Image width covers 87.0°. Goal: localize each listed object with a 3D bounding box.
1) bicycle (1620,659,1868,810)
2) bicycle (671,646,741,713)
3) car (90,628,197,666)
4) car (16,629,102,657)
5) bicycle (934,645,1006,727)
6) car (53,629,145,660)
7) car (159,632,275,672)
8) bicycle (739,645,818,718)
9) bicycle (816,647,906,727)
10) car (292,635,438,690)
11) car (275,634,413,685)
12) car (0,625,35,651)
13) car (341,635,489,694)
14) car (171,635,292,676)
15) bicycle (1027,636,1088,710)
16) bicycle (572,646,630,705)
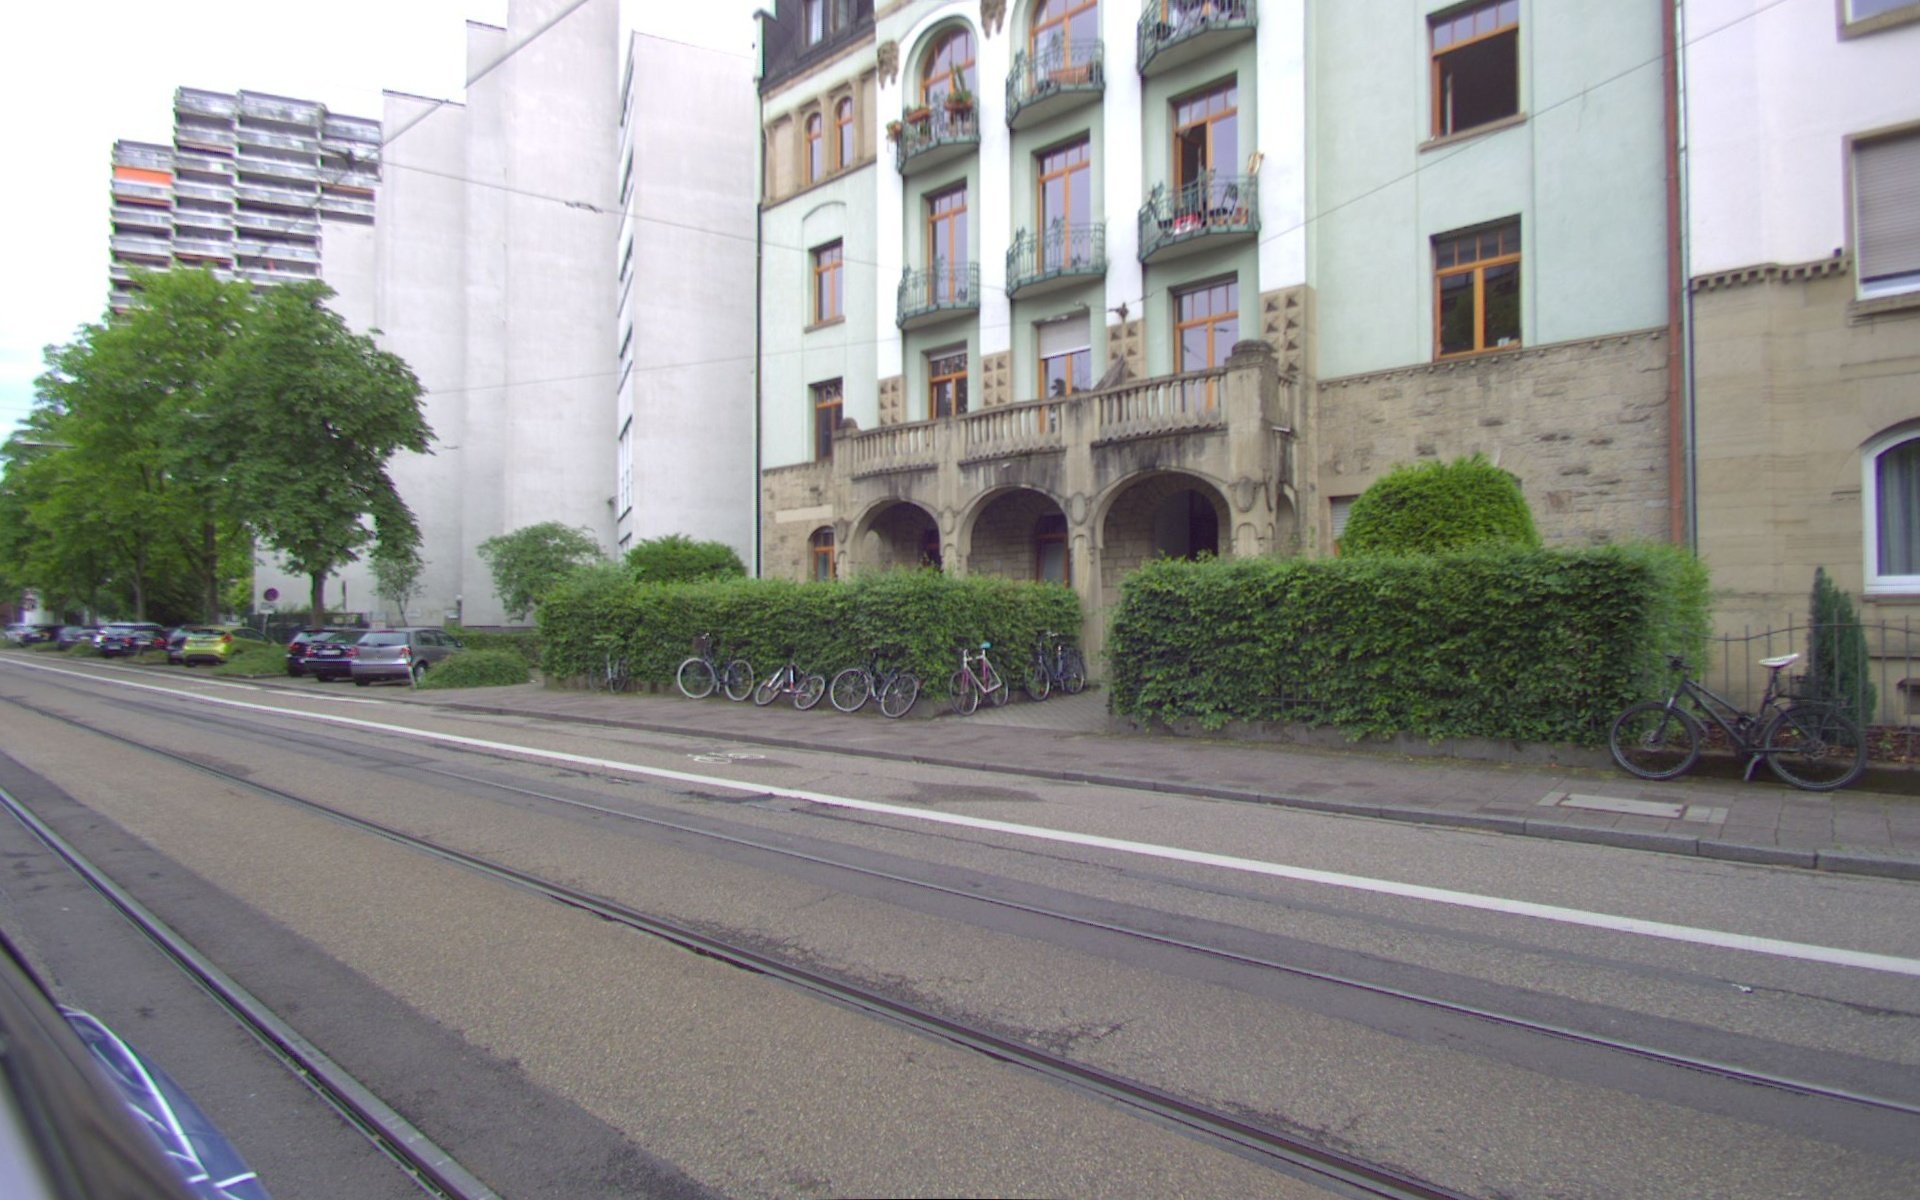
[{"bbox_3d":[6.311,1.046,8.221,1.546,1.092,0.356,-2,-2,41],"label":"bicycle"},{"bbox_3d":[-4.440,1.364,17.653,1.546,1.092,0.356,-2,-2,41],"label":"bicycle"},{"bbox_3d":[-36.260,2.060,45.062,1.670,1.632,4.002,0,-2,-3],"label":"car"},{"bbox_3d":[-53.712,2.530,60.398,1.670,1.632,4.002,0,-2,-3],"label":"car"},{"bbox_3d":[0.155,1.233,14.761,0.300,1.091,1.190,-2,0,42],"label":"bicycle"},{"bbox_3d":[-46.050,2.355,54.239,1.670,1.632,4.002,0,-2,-3],"label":"car"},{"bbox_3d":[-28.585,1.974,39.083,1.670,1.453,4.002,0,-2,-3],"label":"car"},{"bbox_3d":[-2.928,1.283,16.223,1.546,1.092,0.356,-2,-2,41],"label":"bicycle"},{"bbox_3d":[-1.478,1.253,14.894,1.546,1.092,0.356,-2,-2,41],"label":"bicycle"},{"bbox_3d":[-16.399,1.681,28.132,1.672,1.414,3.998,0,-2,1],"label":"car"},{"bbox_3d":[-18.471,1.749,30.578,1.672,1.414,3.998,0,-2,1],"label":"car"},{"bbox_3d":[-62.171,2.488,66.340,3.996,1.632,1.673,-1,-2,39],"label":"car"},{"bbox_3d":[-14.072,1.625,26.410,1.672,1.414,3.998,0,-2,1],"label":"car"},{"bbox_3d":[-26.432,1.977,36.909,1.670,1.405,4.002,0,-2,-3],"label":"car"},{"bbox_3d":[1.591,1.164,16.405,0.300,1.091,1.190,-2,0,42],"label":"bicycle"},{"bbox_3d":[-7.103,1.469,19.982,1.546,1.092,0.356,-2,-2,41],"label":"bicycle"}]
